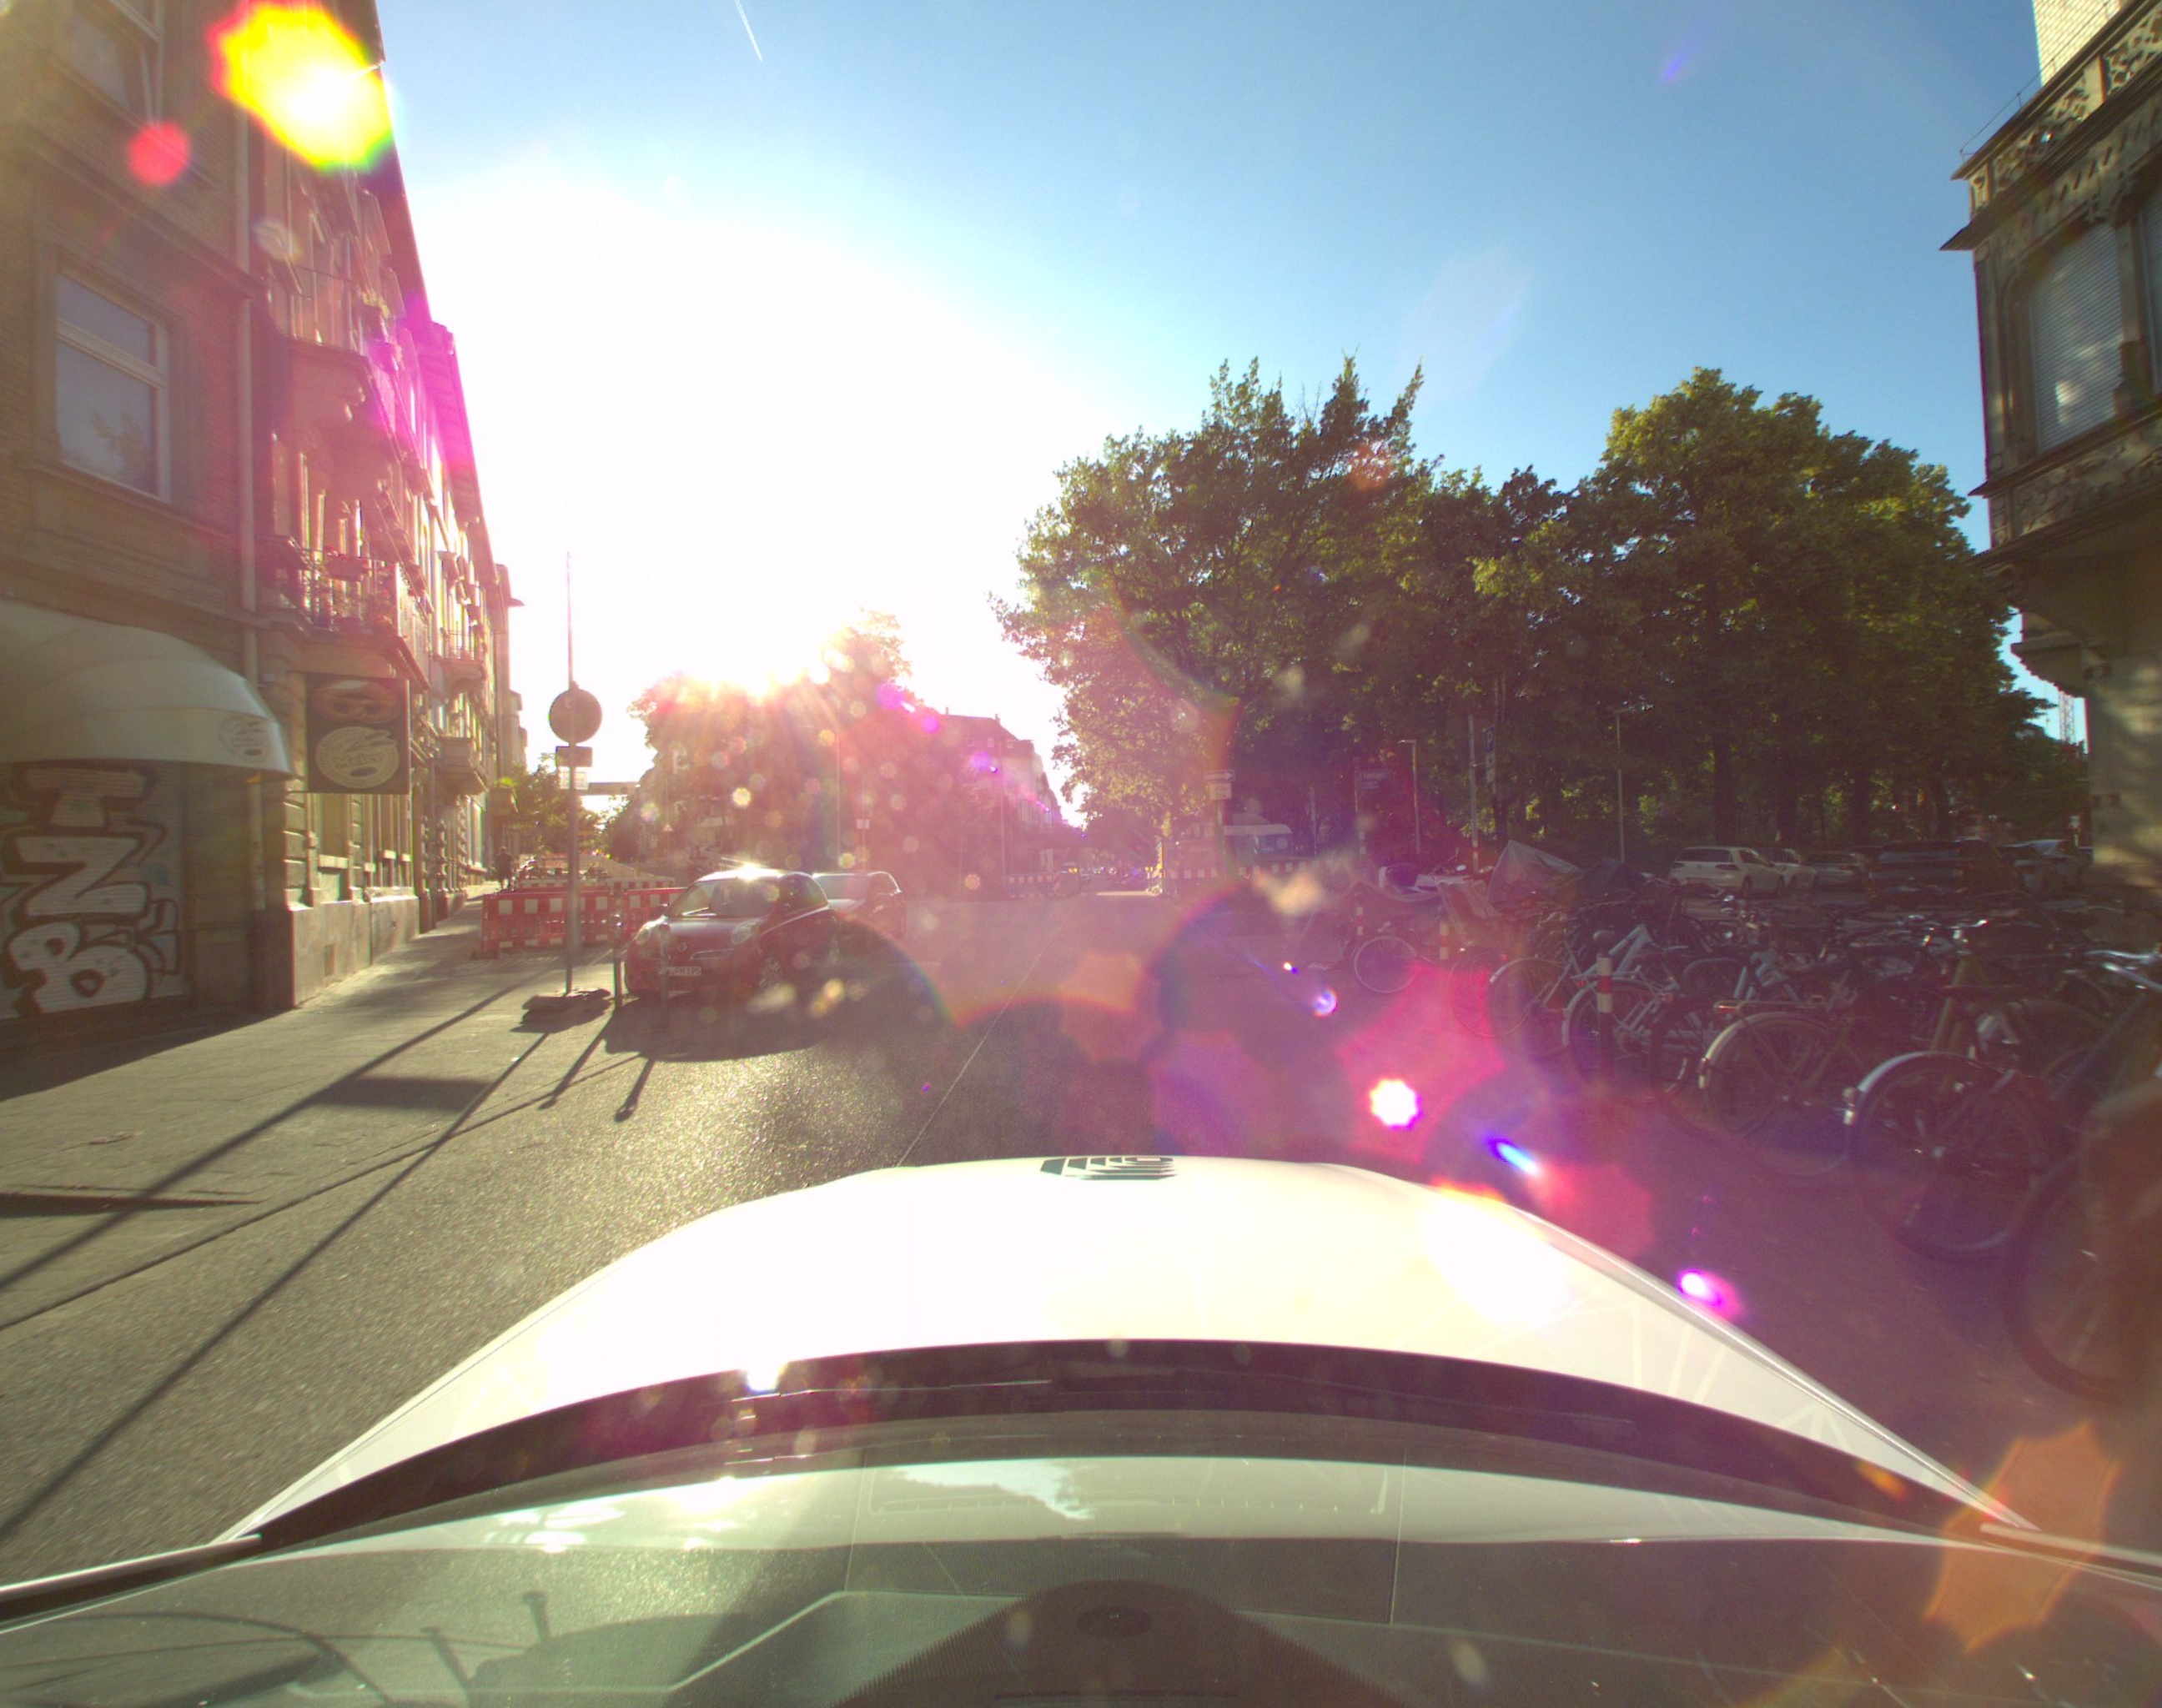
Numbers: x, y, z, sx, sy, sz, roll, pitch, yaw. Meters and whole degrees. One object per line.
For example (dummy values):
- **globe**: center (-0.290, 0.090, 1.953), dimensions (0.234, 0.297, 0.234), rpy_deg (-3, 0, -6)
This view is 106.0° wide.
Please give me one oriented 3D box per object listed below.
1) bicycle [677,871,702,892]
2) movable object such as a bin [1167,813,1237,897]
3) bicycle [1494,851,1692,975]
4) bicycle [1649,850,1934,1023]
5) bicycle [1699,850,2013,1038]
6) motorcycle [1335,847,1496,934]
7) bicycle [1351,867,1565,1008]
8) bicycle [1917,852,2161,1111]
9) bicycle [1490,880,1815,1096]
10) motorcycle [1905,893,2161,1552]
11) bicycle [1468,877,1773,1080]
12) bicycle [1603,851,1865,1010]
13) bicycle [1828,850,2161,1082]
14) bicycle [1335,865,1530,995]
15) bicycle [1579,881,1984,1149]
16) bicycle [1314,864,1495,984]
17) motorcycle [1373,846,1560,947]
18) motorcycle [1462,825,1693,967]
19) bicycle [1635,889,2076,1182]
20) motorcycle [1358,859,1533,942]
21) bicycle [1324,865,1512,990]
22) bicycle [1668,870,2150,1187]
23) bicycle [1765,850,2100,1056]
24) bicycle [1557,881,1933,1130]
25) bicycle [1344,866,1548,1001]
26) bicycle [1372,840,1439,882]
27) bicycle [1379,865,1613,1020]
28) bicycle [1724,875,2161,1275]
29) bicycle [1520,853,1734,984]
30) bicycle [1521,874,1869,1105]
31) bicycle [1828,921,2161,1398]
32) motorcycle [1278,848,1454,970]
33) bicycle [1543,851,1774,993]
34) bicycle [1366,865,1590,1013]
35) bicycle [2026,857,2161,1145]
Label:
- **bicycle**: center (-18.690, 1.290, 38.839), dimensions (0.809, 0.968, 2.086), rpy_deg (-1, 0, -34)
- **movable object such as a bin**: center (4.279, 0.045, 28.549), dimensions (1.979, 2.699, 3.123), rpy_deg (-2, -1, 15)
- **bicycle**: center (5.587, 0.622, 8.914), dimensions (1.920, 1.246, 0.452), rpy_deg (-2, 0, -4)
- **bicycle**: center (5.636, 0.625, 6.492), dimensions (1.920, 1.246, 0.479), rpy_deg (-2, 0, -4)
- **bicycle**: center (5.650, 0.626, 5.969), dimensions (1.920, 1.246, 0.479), rpy_deg (-2, 0, -4)
- **motorcycle**: center (5.658, 0.602, 13.846), dimensions (2.363, 1.341, 0.938), rpy_deg (-2, -1, -8)
- **bicycle**: center (3.594, 0.778, 7.785), dimensions (1.920, 1.246, 0.302), rpy_deg (-2, 0, -5)
- **bicycle**: center (5.659, 0.629, 4.379), dimensions (1.920, 1.246, 0.479), rpy_deg (-2, 0, -4)
- **bicycle**: center (3.644, 0.825, 5.213), dimensions (1.920, 1.246, 0.302), rpy_deg (-2, 0, -5)
- **motorcycle**: center (3.177, 0.717, 1.657), dimensions (2.016, 1.285, 0.904), rpy_deg (-4, 0, 0)
- **bicycle**: center (3.652, 0.819, 5.535), dimensions (1.920, 1.246, 0.302), rpy_deg (-2, 0, -5)
- **bicycle**: center (5.589, 0.626, 7.005), dimensions (1.920, 1.246, 0.479), rpy_deg (-2, 0, -4)
- **bicycle**: center (5.631, 0.629, 4.889), dimensions (1.920, 1.246, 0.479), rpy_deg (-2, 0, -4)
- **bicycle**: center (3.652, 0.776, 8.483), dimensions (1.920, 1.246, 0.302), rpy_deg (-2, 0, -5)
- **bicycle**: center (3.627, 0.799, 4.238), dimensions (1.920, 1.246, 0.302), rpy_deg (-2, 0, -5)
- **bicycle**: center (3.614, 0.764, 9.128), dimensions (1.920, 1.246, 0.302), rpy_deg (-2, 0, -5)
- **motorcycle**: center (5.384, 0.599, 11.509), dimensions (2.267, 1.341, 0.658), rpy_deg (-2, -1, 13)
- **motorcycle**: center (5.828, 0.472, 9.621), dimensions (2.278, 1.531, 0.755), rpy_deg (-2, -1, -5)
- **bicycle**: center (3.701, 0.829, 3.913), dimensions (1.920, 1.246, 0.302), rpy_deg (-2, 0, -5)
- **motorcycle**: center (5.484, 0.700, 12.437), dimensions (2.266, 1.180, 0.975), rpy_deg (-2, -1, 14)
- **bicycle**: center (3.635, 0.780, 8.804), dimensions (1.920, 1.246, 0.302), rpy_deg (-2, 0, -5)
- **bicycle**: center (3.637, 0.727, 3.601), dimensions (1.920, 1.246, 0.302), rpy_deg (-2, 0, -5)
- **bicycle**: center (5.659, 0.627, 5.436), dimensions (1.920, 1.246, 0.395), rpy_deg (-2, 0, -5)
- **bicycle**: center (3.694, 0.810, 4.552), dimensions (1.920, 1.246, 0.302), rpy_deg (-2, 0, -5)
- **bicycle**: center (3.645, 0.775, 8.145), dimensions (1.920, 1.246, 0.302), rpy_deg (-2, 0, -5)
- **bicycle**: center (10.717, 0.222, 26.971), dimensions (1.024, 1.285, 2.139), rpy_deg (-3, 0, -10)
- **bicycle**: center (3.617, 0.754, 7.119), dimensions (1.920, 1.246, 0.302), rpy_deg (-2, 0, -5)
- **bicycle**: center (3.645, 0.742, 3.101), dimensions (1.920, 1.246, 0.647), rpy_deg (-2, 0, -4)
- **bicycle**: center (5.606, 0.641, 8.398), dimensions (1.920, 1.246, 0.479), rpy_deg (-2, 0, -4)
- **bicycle**: center (3.670, 0.782, 4.888), dimensions (1.920, 1.246, 0.302), rpy_deg (-2, 0, -5)
- **bicycle**: center (3.295, 0.786, 2.342), dimensions (1.811, 1.127, 0.443), rpy_deg (-4, 0, 0)
- **motorcycle**: center (3.595, 0.660, 10.304), dimensions (1.913, 1.412, 0.947), rpy_deg (-2, -1, 29)
- **bicycle**: center (5.538, 0.627, 7.843), dimensions (1.920, 1.246, 0.479), rpy_deg (-2, 0, -4)
- **bicycle**: center (3.613, 0.753, 7.441), dimensions (1.920, 1.246, 0.302), rpy_deg (-2, 0, -5)
- **bicycle**: center (5.680, 0.629, 3.875), dimensions (1.920, 1.246, 0.479), rpy_deg (-2, 0, -4)
